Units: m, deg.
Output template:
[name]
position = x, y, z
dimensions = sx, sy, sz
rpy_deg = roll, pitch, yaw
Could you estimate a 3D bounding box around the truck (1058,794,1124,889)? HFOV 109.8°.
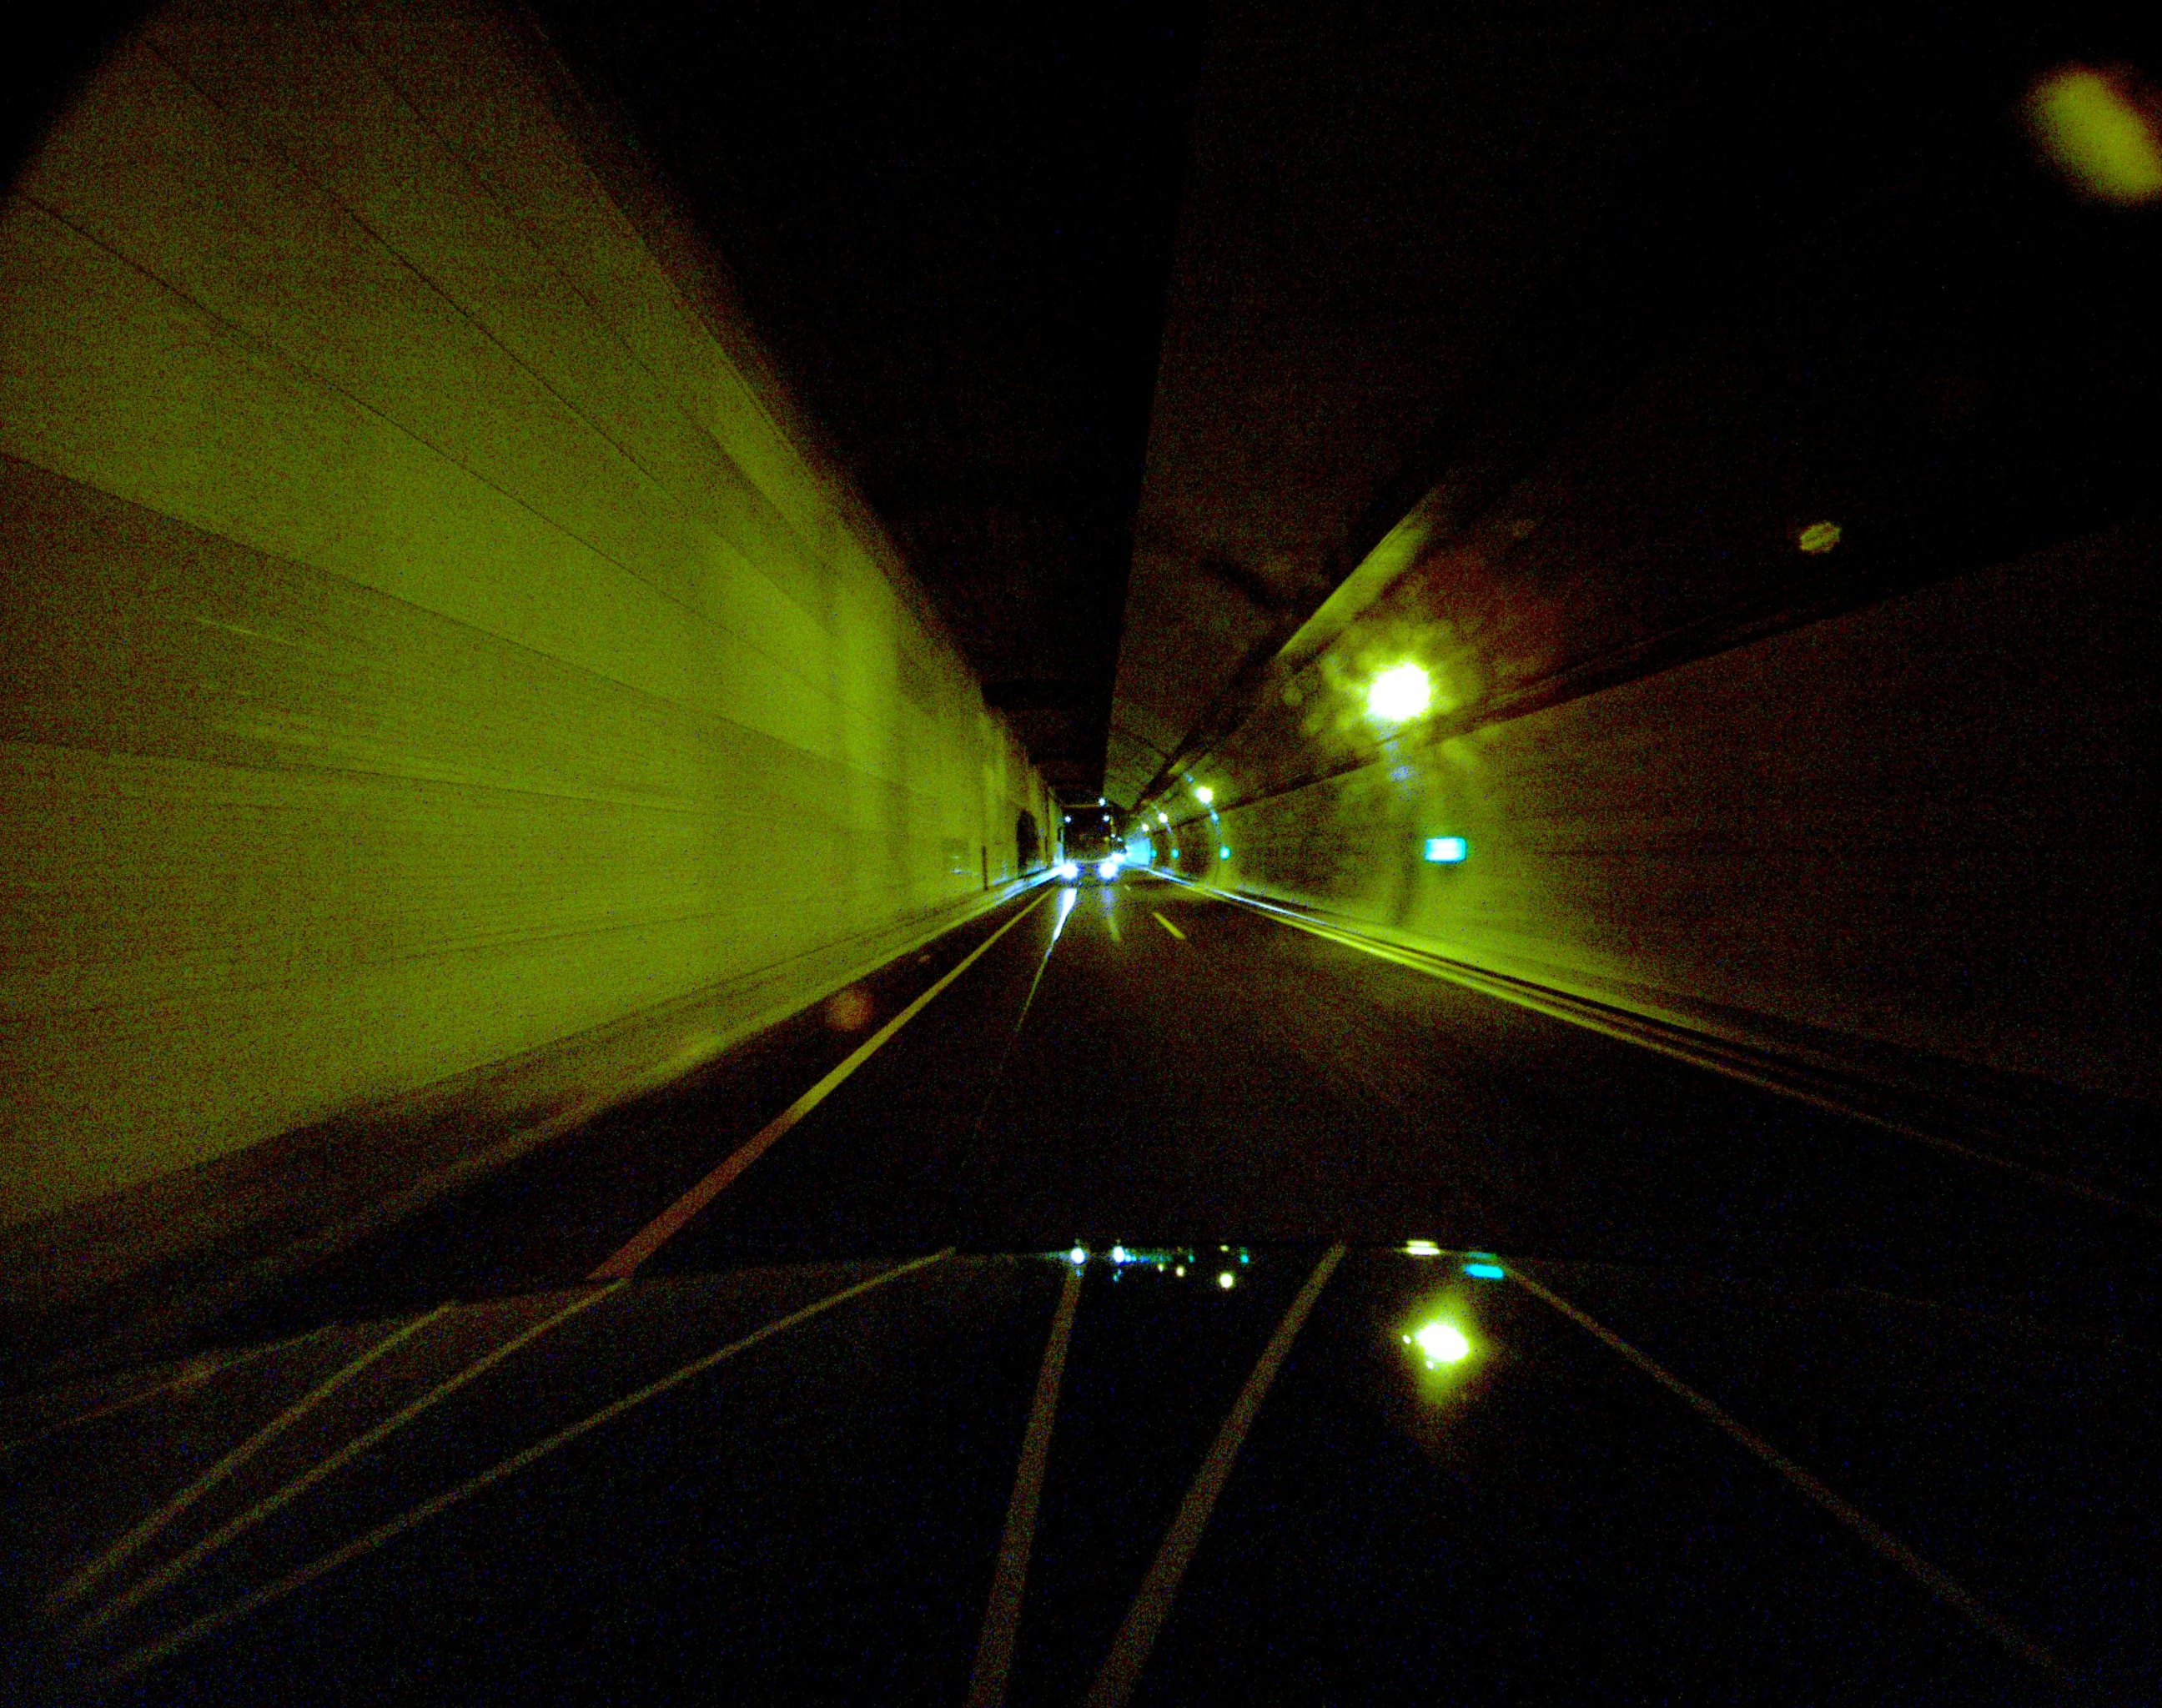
[truck]
position = 0.474, -0.632, 38.649
dimensions = 2.769, 4.198, 7.976
rpy_deg = -3, 1, 0
